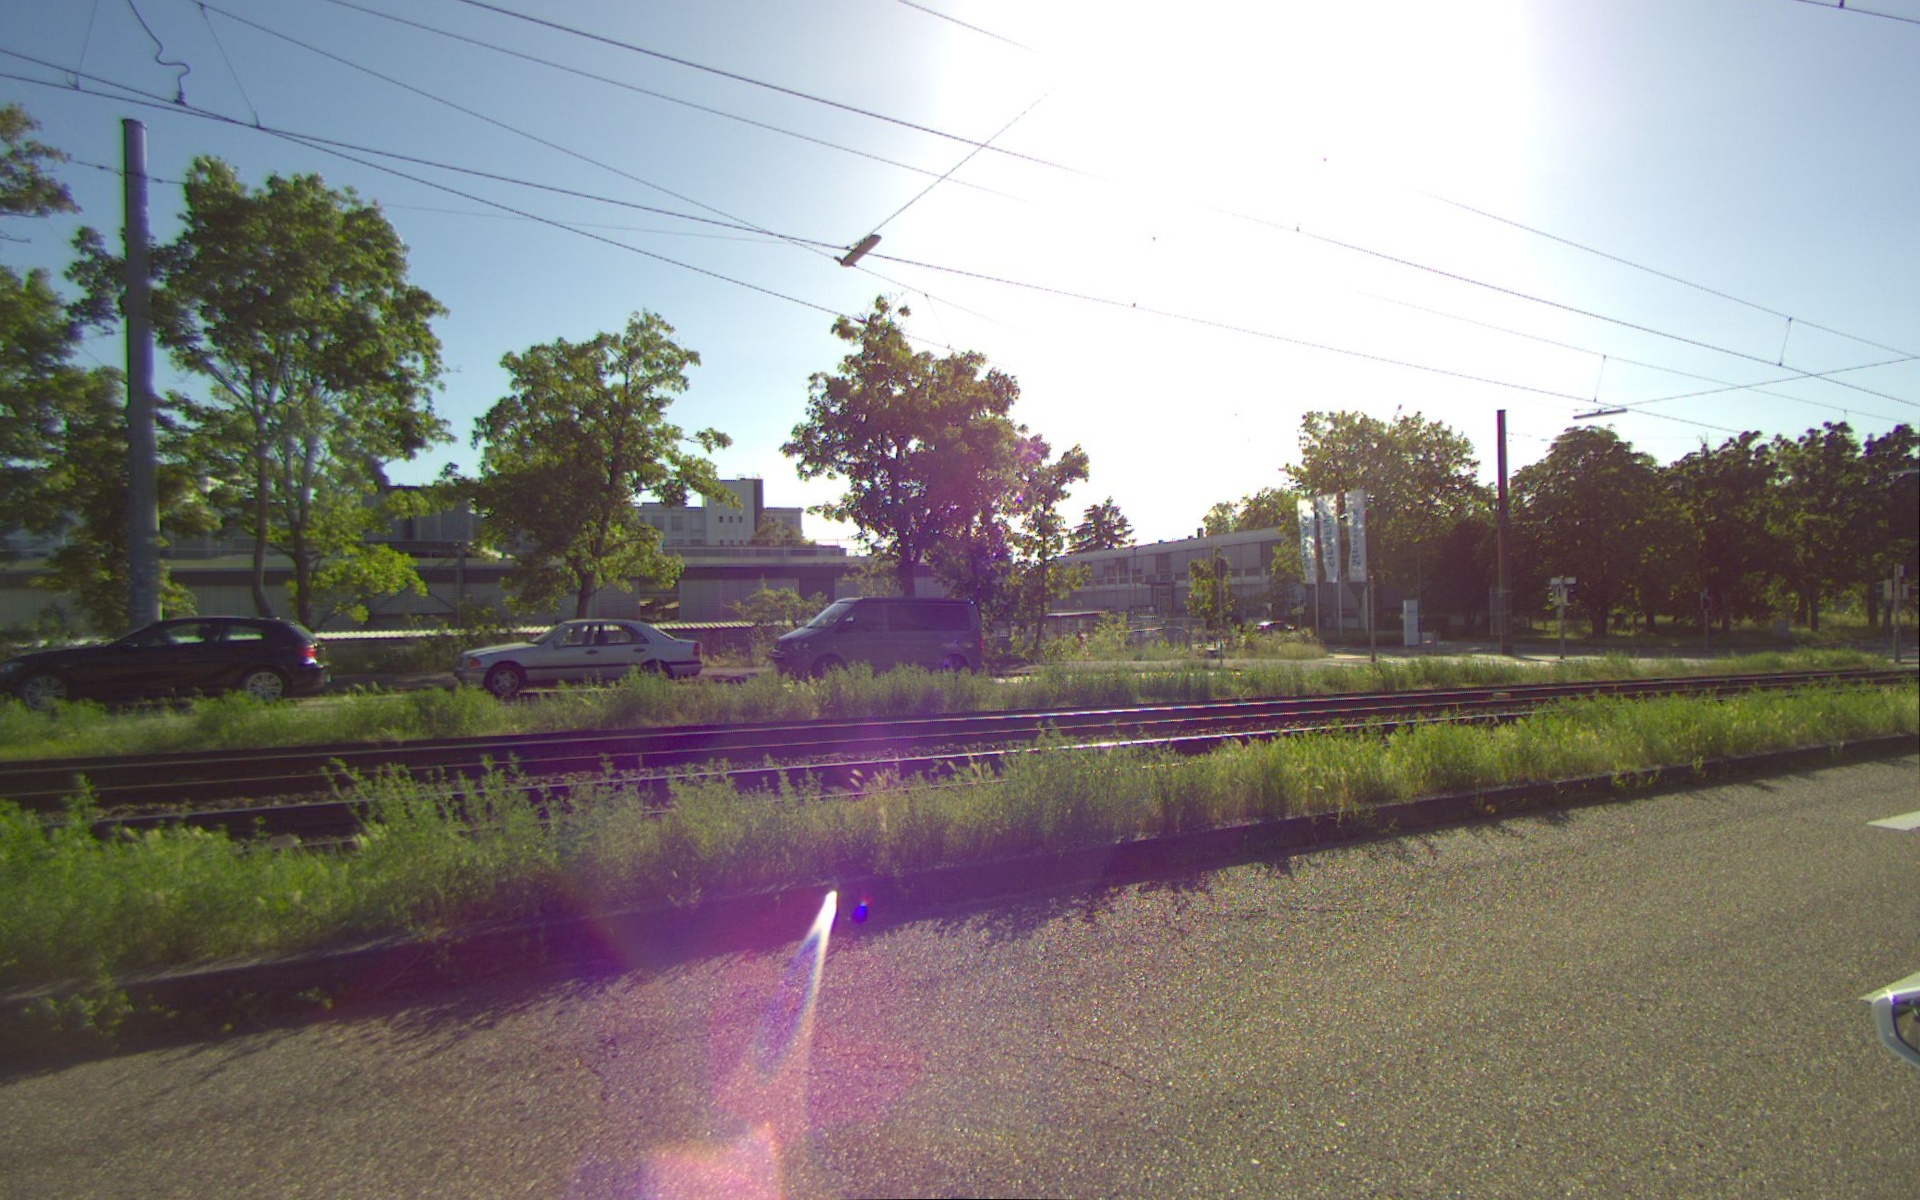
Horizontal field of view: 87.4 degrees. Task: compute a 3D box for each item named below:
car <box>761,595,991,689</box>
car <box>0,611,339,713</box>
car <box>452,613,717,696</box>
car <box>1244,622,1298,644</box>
[{"bbox_3d":[-1.885,0.888,22.735,4.730,1.916,2.188,1,0,-28],"label":"car"},{"bbox_3d":[-12.725,0.921,16.346,4.362,1.457,1.984,0,0,-30],"label":"car"},{"bbox_3d":[-7.305,0.989,19.661,4.638,1.457,1.919,0,0,-30],"label":"car"},{"bbox_3d":[22.619,2.386,73.091,3.817,1.508,1.683,0,0,-31],"label":"car"}]
